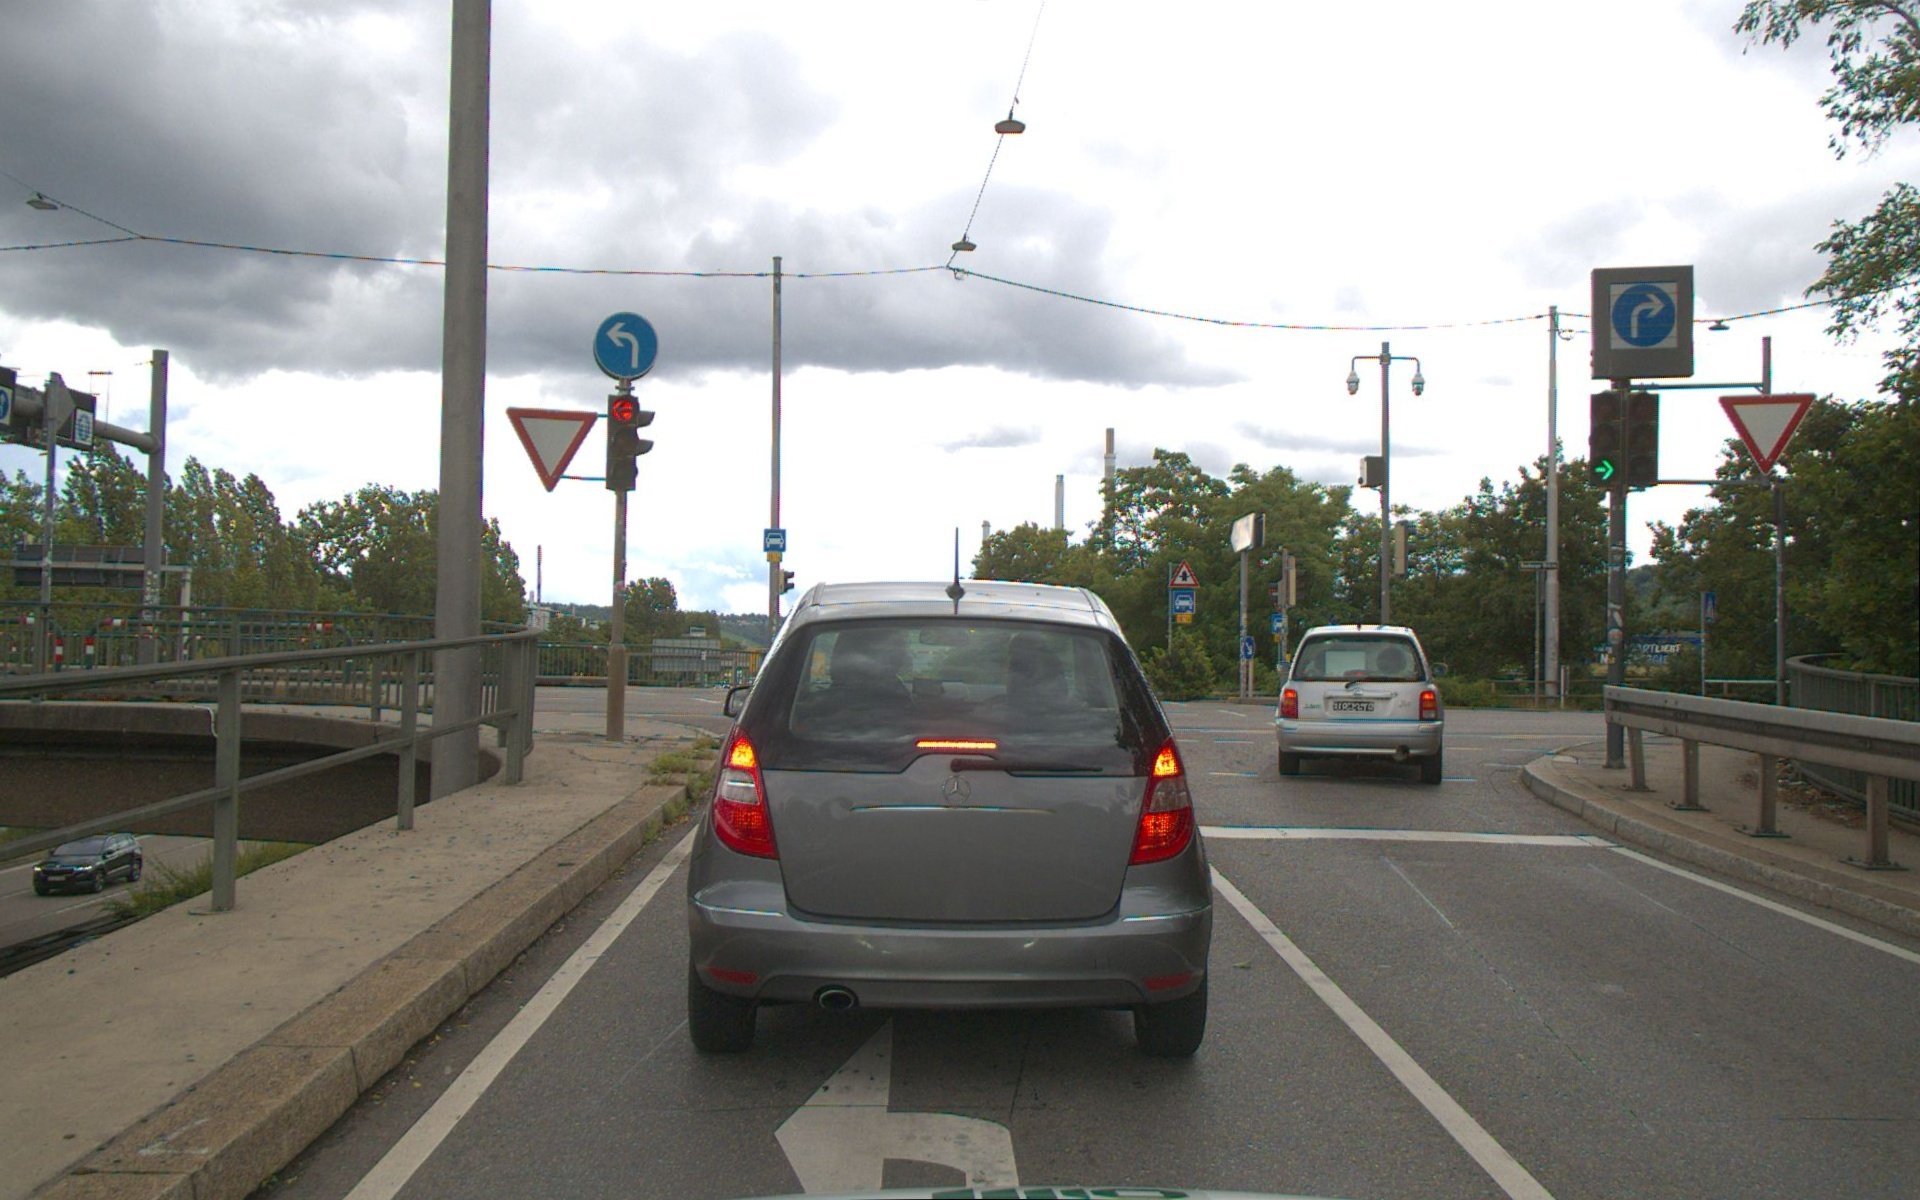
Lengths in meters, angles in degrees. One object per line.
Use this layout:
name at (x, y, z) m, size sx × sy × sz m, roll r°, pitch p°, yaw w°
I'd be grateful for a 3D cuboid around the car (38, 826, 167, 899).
car at (-26.580, 8.108, 51.424) m, size 1.844 × 1.749 × 4.180 m, roll -1°, pitch -3°, yaw -1°

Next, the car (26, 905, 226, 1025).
car at (-16.493, 7.193, 32.957) m, size 1.792 × 1.606 × 4.182 m, roll 1°, pitch -2°, yaw 0°

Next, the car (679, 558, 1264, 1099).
car at (0.018, 0.684, 6.652) m, size 1.704 × 1.570 × 3.540 m, roll 1°, pitch 0°, yaw -1°

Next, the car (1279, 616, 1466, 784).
car at (4.018, 0.906, 16.519) m, size 1.551 × 1.457 × 3.446 m, roll 0°, pitch 0°, yaw 10°
